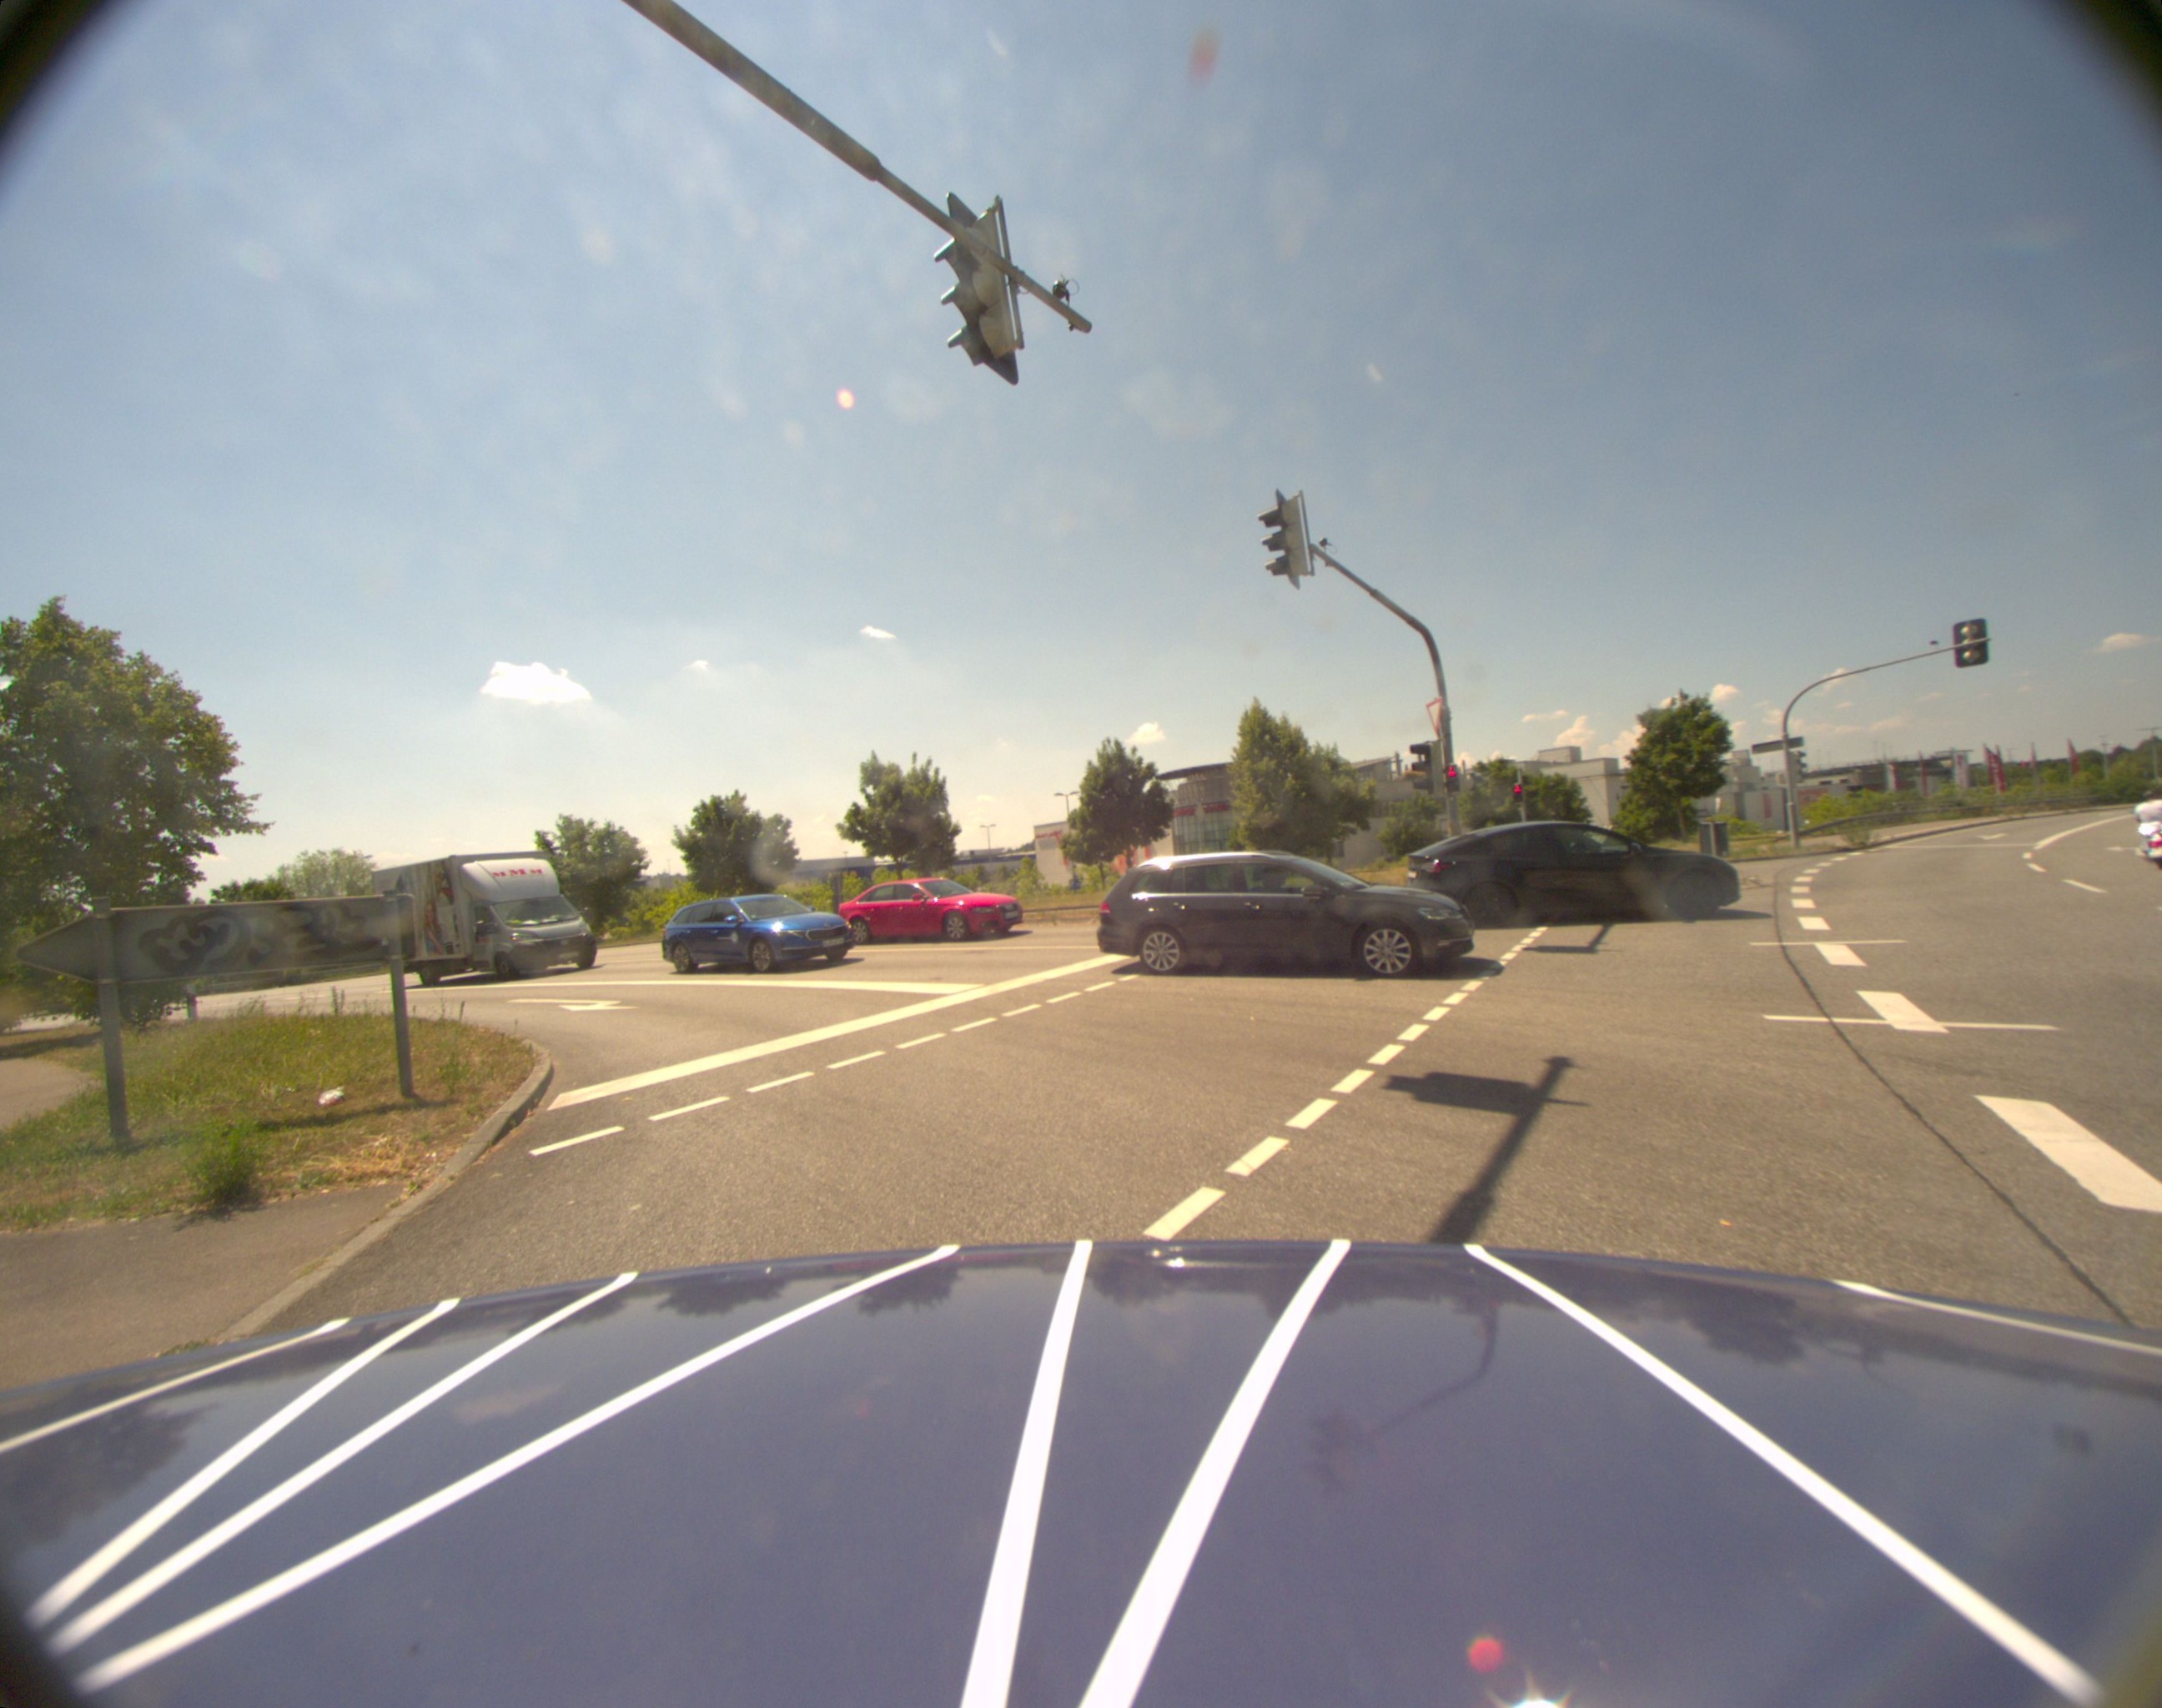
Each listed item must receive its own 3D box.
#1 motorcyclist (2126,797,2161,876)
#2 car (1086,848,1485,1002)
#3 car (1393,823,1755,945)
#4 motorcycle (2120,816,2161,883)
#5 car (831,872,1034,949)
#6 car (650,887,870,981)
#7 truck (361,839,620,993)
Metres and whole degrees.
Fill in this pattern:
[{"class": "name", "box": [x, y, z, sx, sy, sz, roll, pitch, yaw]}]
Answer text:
[{"class": "motorcyclist", "box": [21.601, -0.362, 15.183, 0.847, 1.531, 0.612, -4, 1, -21]}, {"class": "car", "box": [2.479, 0.851, 9.502, 4.418, 1.474, 1.786, -4, 1, 29]}, {"class": "car", "box": [7.691, 0.459, 12.346, 4.499, 1.592, 1.882, -4, 1, 11]}, {"class": "motorcycle", "box": [21.728, -0.112, 15.225, 1.942, 1.231, 0.577, -4, 1, -21]}, {"class": "car", "box": [-3.444, 1.318, 17.380, 4.439, 1.380, 1.669, -6, 0, 30]}, {"class": "car", "box": [-6.422, 1.591, 15.033, 4.479, 1.454, 1.716, -6, 1, 34]}, {"class": "truck", "box": [-16.179, 1.750, 20.703, 7.188, 3.328, 2.419, -7, 1, 27]}]
